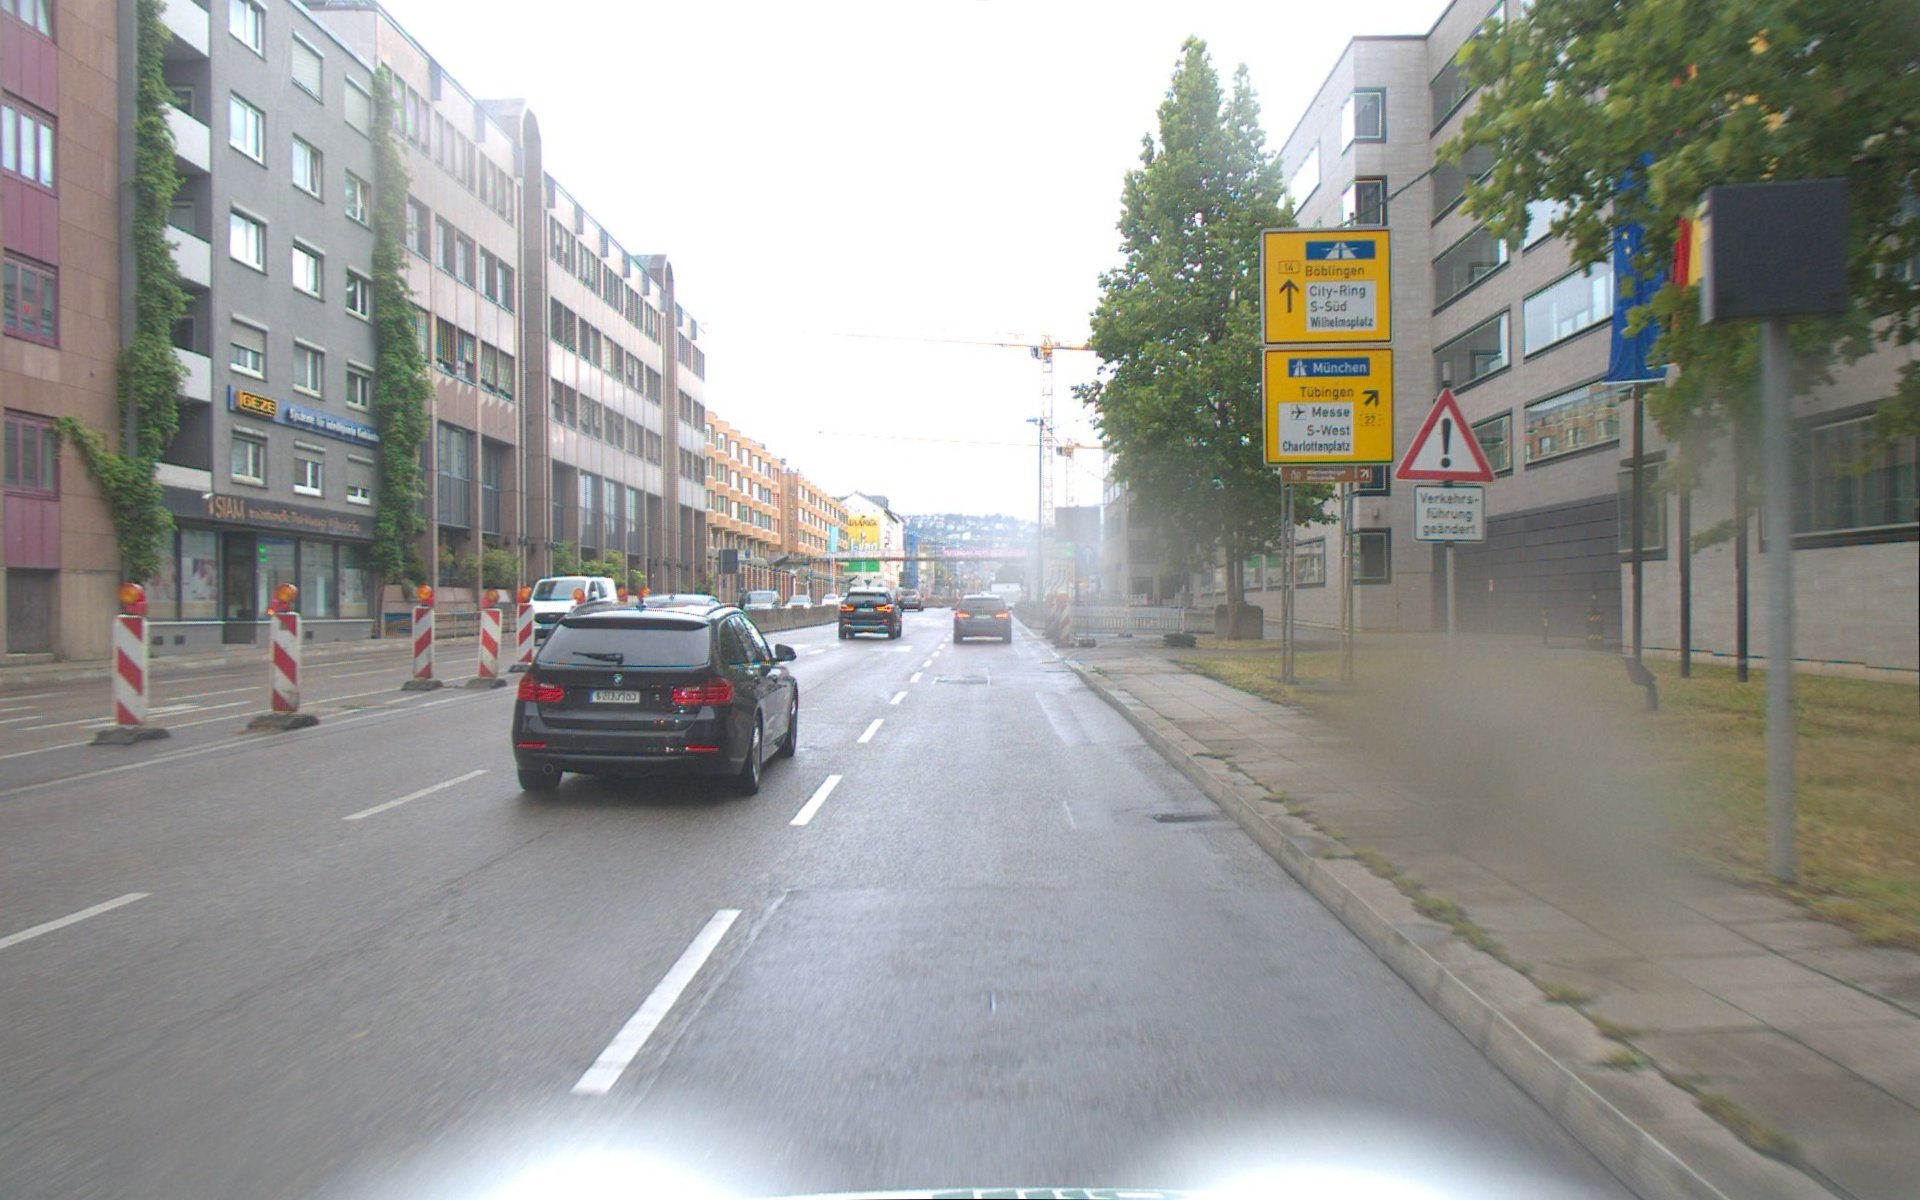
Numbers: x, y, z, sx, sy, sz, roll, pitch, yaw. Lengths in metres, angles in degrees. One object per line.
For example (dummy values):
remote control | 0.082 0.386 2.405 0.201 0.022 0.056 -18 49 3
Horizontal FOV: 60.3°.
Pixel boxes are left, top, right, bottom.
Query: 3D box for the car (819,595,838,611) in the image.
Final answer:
car | -13.058 0.328 164.635 1.569 1.467 3.658 -1 1 0

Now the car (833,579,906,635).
car | -2.929 0.236 54.136 1.860 1.723 4.002 -1 0 4

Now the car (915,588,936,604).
car | -3.753 -0.393 180.579 1.952 1.648 4.764 -1 0 2

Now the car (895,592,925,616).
car | -3.784 0.307 125.792 1.860 1.723 4.002 -1 0 4

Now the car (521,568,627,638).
car | -11.840 0.098 51.111 1.952 2.025 5.289 -1 0 1

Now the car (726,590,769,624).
car | -11.620 0.393 90.788 1.685 1.801 4.426 -1 0 1

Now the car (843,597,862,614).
car | -11.943 0.606 184.383 1.783 1.647 4.191 -1 1 0

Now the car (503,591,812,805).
car | -2.293 0.665 13.732 1.755 1.451 4.612 1 0 -1

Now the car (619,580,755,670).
car | -4.766 0.419 29.423 1.754 1.451 4.383 -1 0 -1

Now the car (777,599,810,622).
car | -11.359 0.707 113.296 1.822 1.560 4.230 -1 0 0

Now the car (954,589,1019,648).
car | 0.864 0.544 51.168 1.860 1.723 4.001 -1 0 3
